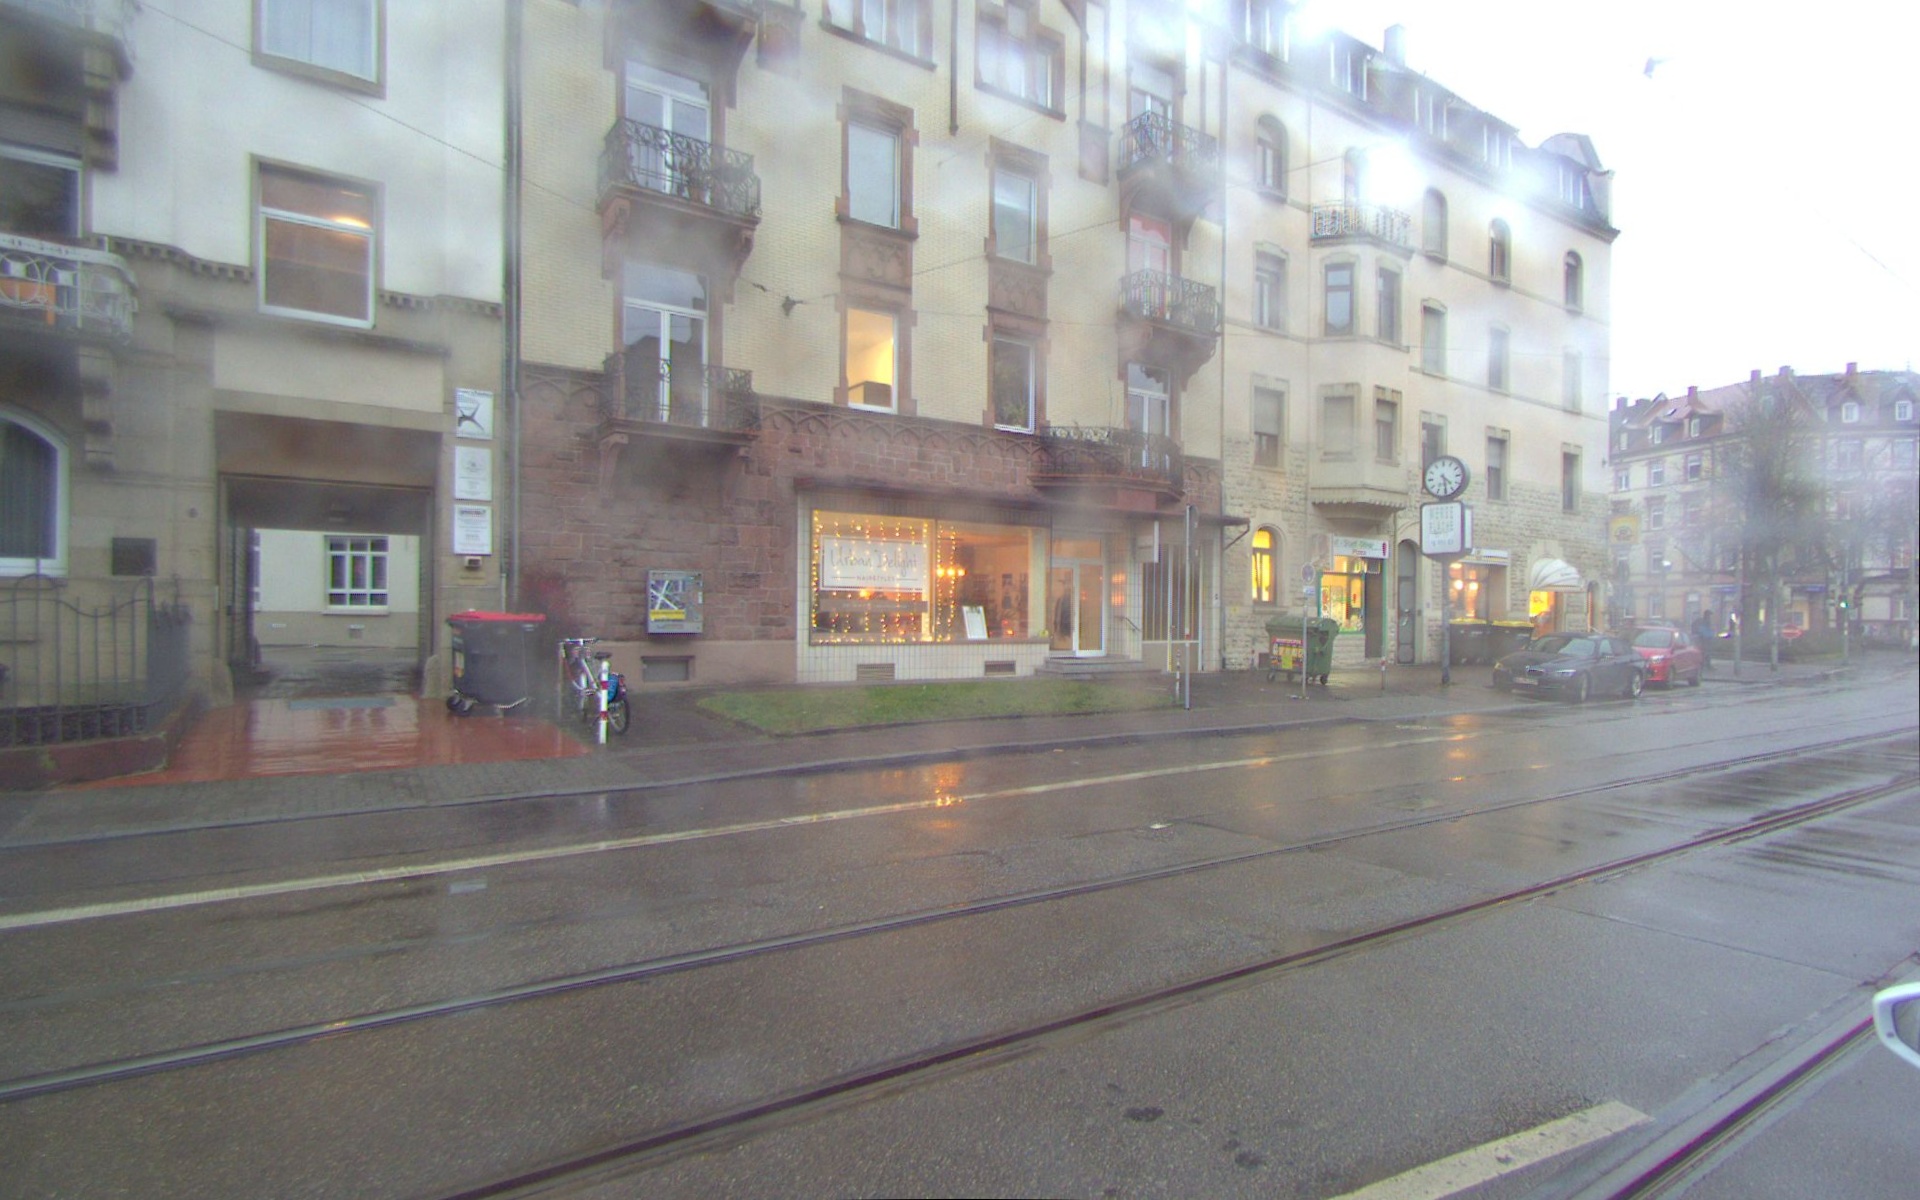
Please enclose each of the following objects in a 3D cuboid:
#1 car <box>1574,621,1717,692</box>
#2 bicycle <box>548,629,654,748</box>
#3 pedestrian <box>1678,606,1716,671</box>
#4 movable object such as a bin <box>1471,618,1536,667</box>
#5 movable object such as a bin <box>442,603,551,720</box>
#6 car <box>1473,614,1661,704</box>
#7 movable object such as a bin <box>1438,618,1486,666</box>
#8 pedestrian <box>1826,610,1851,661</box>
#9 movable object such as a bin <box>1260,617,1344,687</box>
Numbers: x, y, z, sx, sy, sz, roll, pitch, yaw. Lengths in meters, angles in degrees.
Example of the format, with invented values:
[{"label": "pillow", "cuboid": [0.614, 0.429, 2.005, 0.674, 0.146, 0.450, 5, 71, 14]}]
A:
[{"label": "car", "cuboid": [18.278, 1.421, 26.735, 3.997, 1.573, 2.021, 0, 3, -39]}, {"label": "bicycle", "cuboid": [-4.254, 0.974, 11.778, 0.687, 1.120, 2.336, 1, 1, -32]}, {"label": "pedestrian", "cuboid": [23.614, 1.235, 32.205, 0.635, 2.040, 0.758, 1, 0, 3]}, {"label": "movable object such as a bin", "cuboid": [16.334, 1.261, 30.187, 1.239, 1.385, 1.286, 1, 0, -34]}, {"label": "movable object such as a bin", "cuboid": [-6.083, 0.769, 13.154, 1.155, 1.398, 1.096, 1, 2, -32]}, {"label": "car", "cuboid": [13.871, 1.296, 22.882, 4.587, 1.667, 1.972, 2, 3, -37]}, {"label": "movable object such as a bin", "cuboid": [14.969, 1.235, 29.941, 0.996, 1.396, 0.893, 1, 0, -33]}, {"label": "pedestrian", "cuboid": [35.554, 1.445, 40.670, 0.695, 2.040, 0.658, 0, 0, 37]}, {"label": "movable object such as a bin", "cuboid": [7.460, 1.115, 21.930, 1.236, 1.439, 1.260, 1, 0, -33]}]
